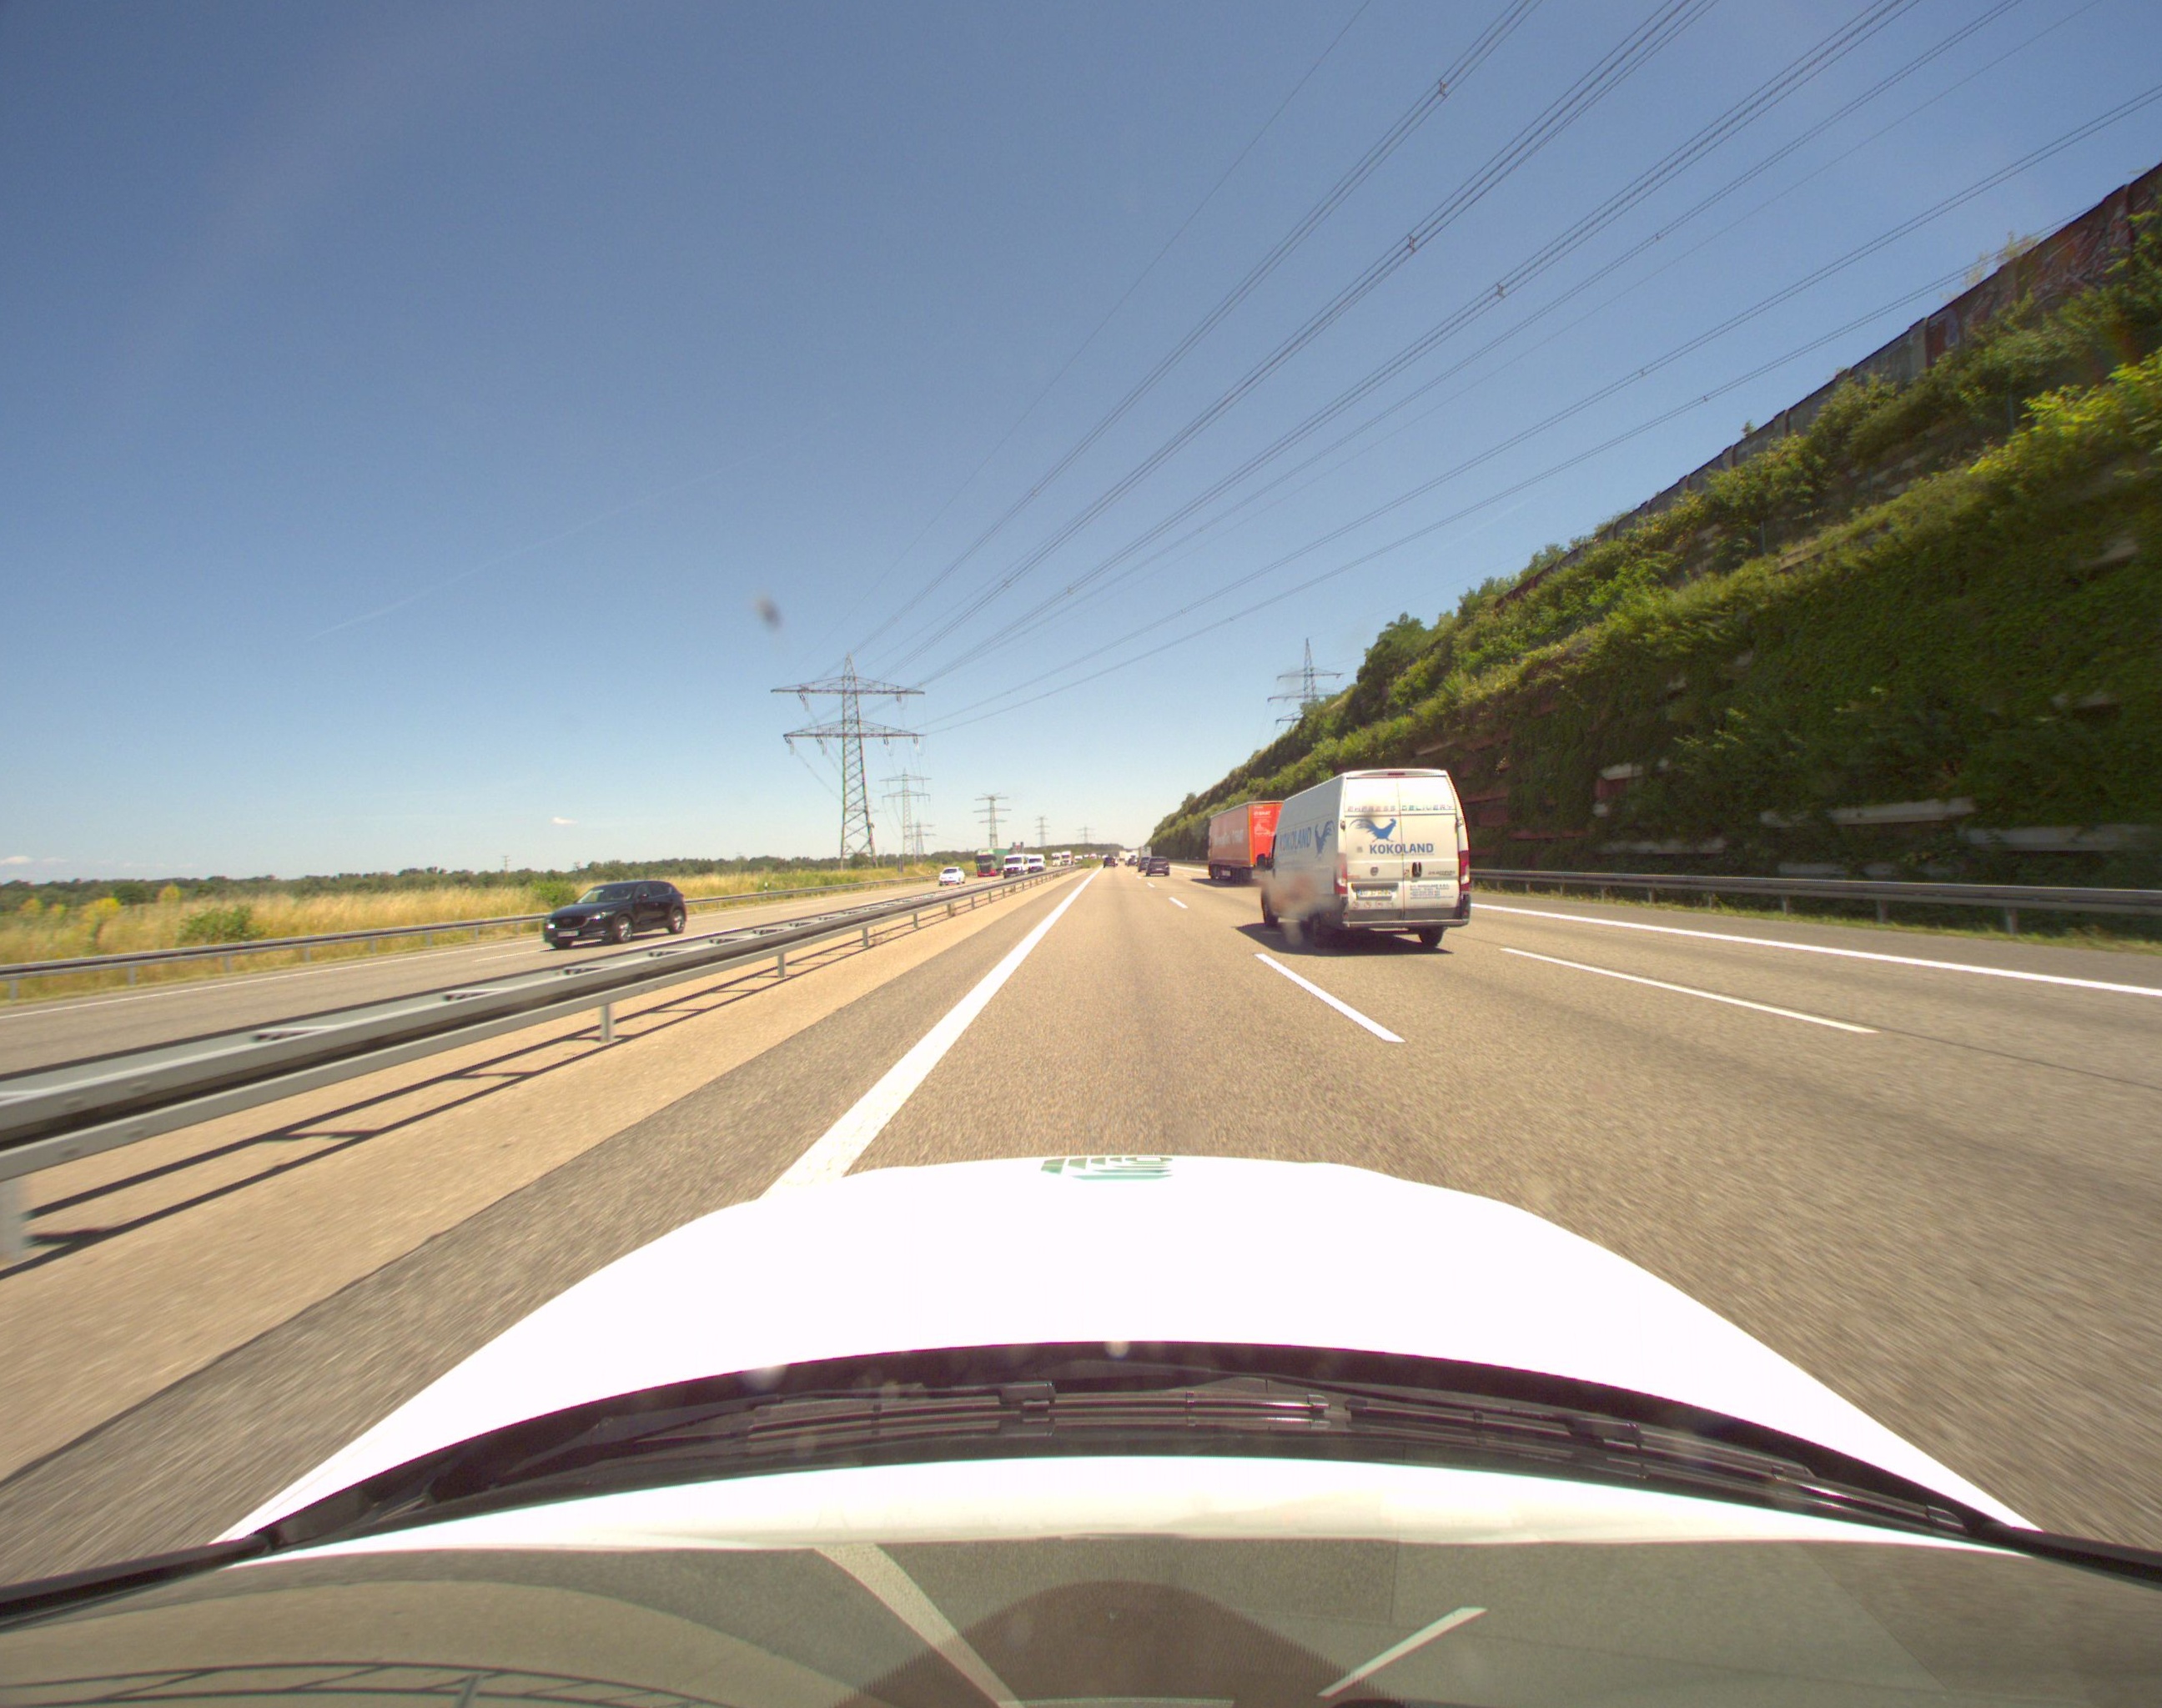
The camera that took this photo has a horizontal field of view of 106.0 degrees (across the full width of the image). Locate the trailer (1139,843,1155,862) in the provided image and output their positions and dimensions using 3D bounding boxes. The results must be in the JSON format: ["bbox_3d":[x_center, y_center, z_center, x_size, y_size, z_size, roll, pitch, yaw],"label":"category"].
[{"bbox_3d":[15.877,-0.297,196.829,3.170,4.121,13.439,-3,-1,3],"label":"trailer"}]

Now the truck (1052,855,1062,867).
[{"bbox_3d":[-7.467,2.154,253.819,2.825,3.751,6.851,-3,0,1],"label":"truck"}]

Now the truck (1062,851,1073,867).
[{"bbox_3d":[-3.938,1.462,236.994,2.590,4.211,5.913,-3,-1,2],"label":"truck"}]

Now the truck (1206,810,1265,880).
[{"bbox_3d":[9.521,-0.488,50.821,2.608,3.992,6.529,-2,0,2],"label":"truck"}]

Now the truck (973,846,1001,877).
[{"bbox_3d":[-13.202,1.073,114.917,2.689,4.134,6.583,-3,0,2],"label":"truck"}]

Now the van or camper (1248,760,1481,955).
[{"bbox_3d":[4.804,0.073,15.190,2.089,2.769,6.759,-2,0,2],"label":"van or camper"}]

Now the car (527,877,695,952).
[{"bbox_3d":[-12.765,1.569,22.516,1.834,1.629,4.415,-5,0,2],"label":"car"}]

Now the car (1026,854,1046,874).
[{"bbox_3d":[-5.827,1.316,106.236,2.040,2.438,6.071,-4,0,1],"label":"car"}]

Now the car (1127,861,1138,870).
[{"bbox_3d":[9.048,2.030,142.655,1.822,1.525,4.003,-3,-1,3],"label":"car"}]

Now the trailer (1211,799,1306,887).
[{"bbox_3d":[9.273,-0.473,44.433,2.635,4.005,13.612,-1,0,2],"label":"trailer"}]

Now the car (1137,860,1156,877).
[{"bbox_3d":[6.935,1.530,86.240,1.787,1.653,4.140,-2,0,2],"label":"car"}]

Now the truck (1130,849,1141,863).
[{"bbox_3d":[17.484,0.576,262.934,3.106,4.280,11.941,-3,-1,3],"label":"truck"}]

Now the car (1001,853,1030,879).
[{"bbox_3d":[-6.376,1.162,80.168,2.101,2.298,6.708,-3,0,1],"label":"car"}]

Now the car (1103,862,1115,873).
[{"bbox_3d":[4.578,2.116,132.854,1.823,1.670,4.002,-3,-1,2],"label":"car"}]

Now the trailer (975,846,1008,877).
[{"bbox_3d":[-13.064,1.081,119.984,2.659,4.085,13.921,-3,0,2],"label":"trailer"}]

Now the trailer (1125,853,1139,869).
[{"bbox_3d":[10.442,1.418,167.850,2.601,3.213,9.957,-3,-1,2],"label":"trailer"}]

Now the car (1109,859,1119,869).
[{"bbox_3d":[6.122,1.894,152.205,1.823,1.670,4.002,-3,-1,2],"label":"car"}]

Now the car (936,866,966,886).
[{"bbox_3d":[-11.361,1.881,71.523,1.701,1.524,4.515,-5,-1,1],"label":"car"}]

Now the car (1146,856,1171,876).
[{"bbox_3d":[6.302,0.936,66.225,1.742,1.525,3.997,-2,-1,2],"label":"car"}]
